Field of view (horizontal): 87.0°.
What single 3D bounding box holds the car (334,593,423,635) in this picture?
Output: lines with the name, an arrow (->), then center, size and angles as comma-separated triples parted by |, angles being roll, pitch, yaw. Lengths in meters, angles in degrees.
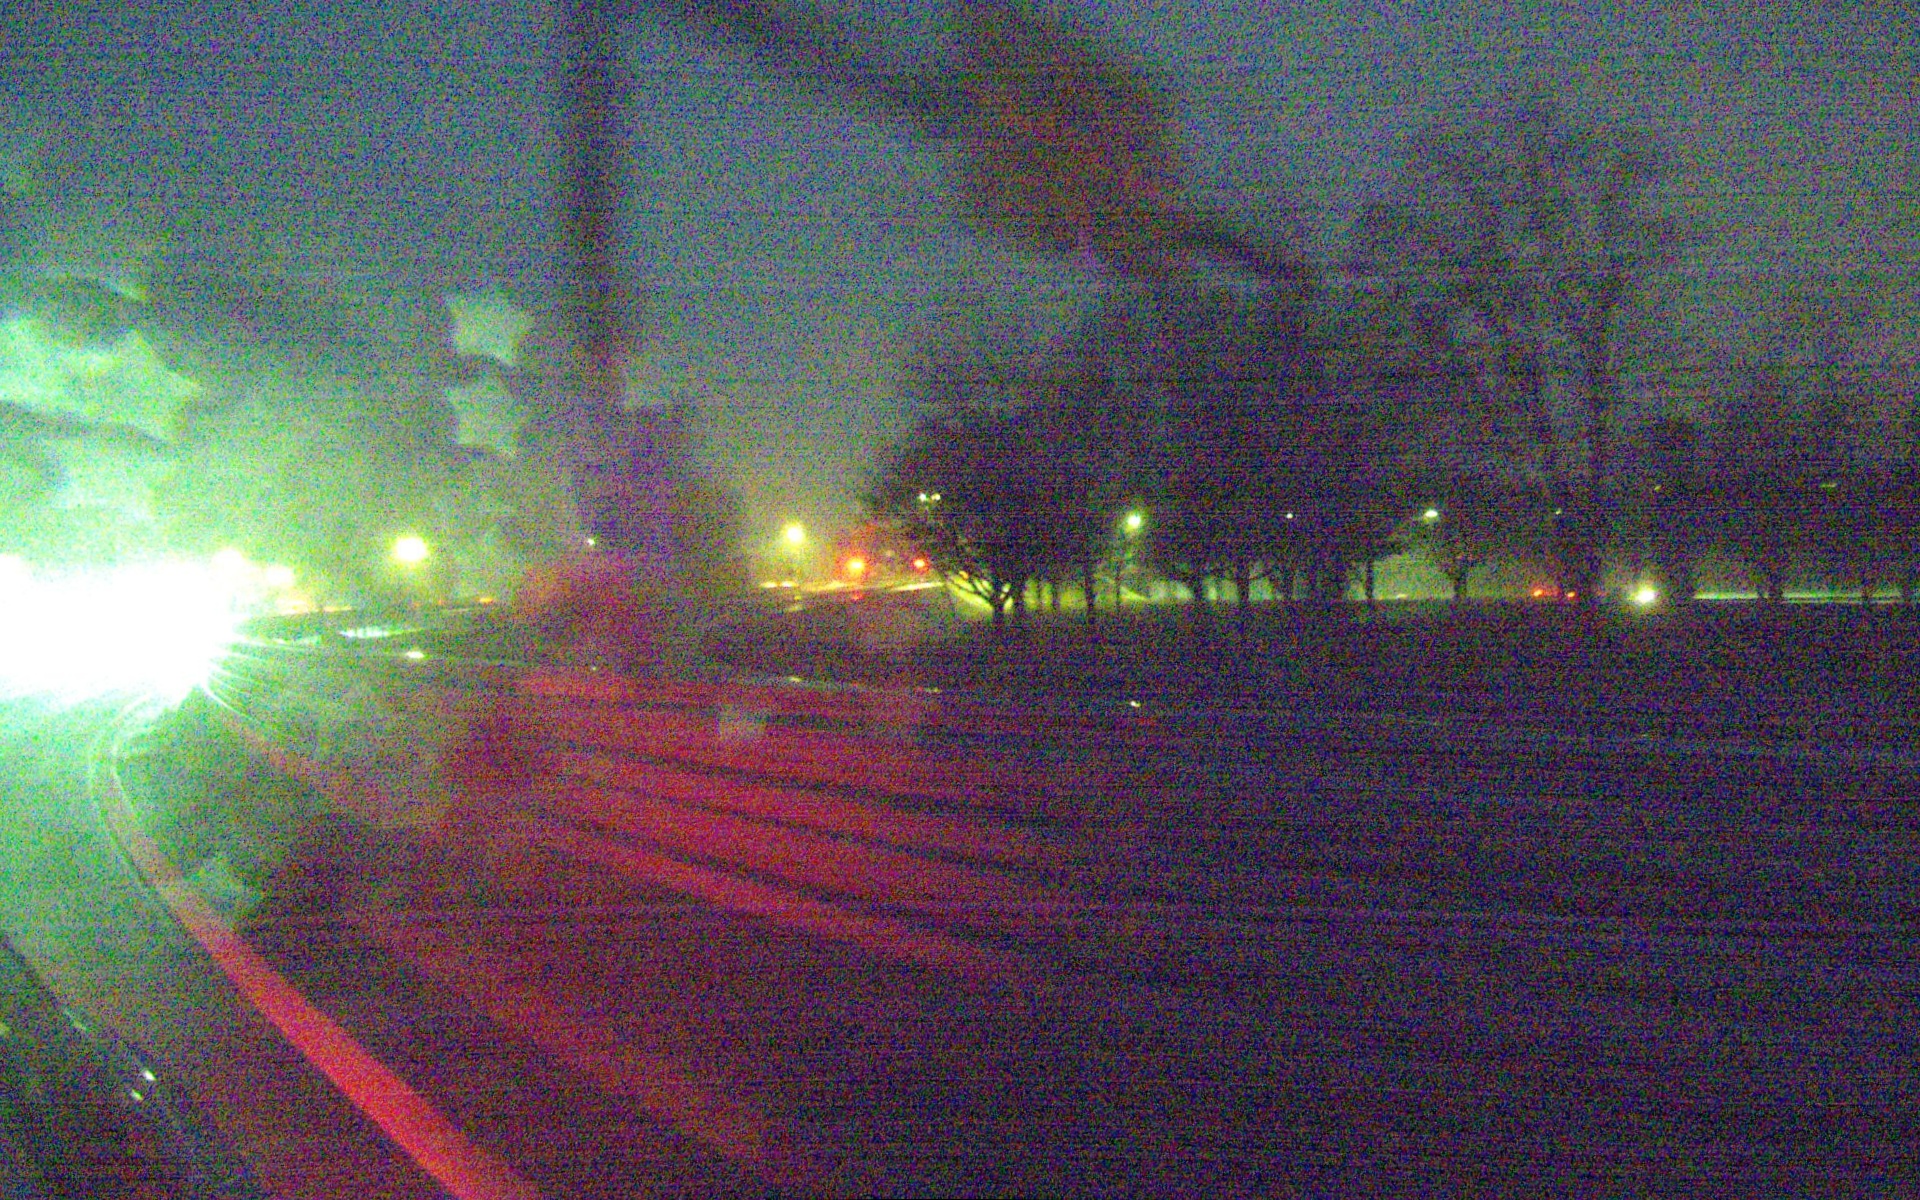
car -> -27.276, 0.623, 47.634 | 1.970, 1.760, 4.103 | -3, 1, -3

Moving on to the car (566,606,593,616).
car -> -62.197, 1.787, 165.578 | 3.934, 1.452, 1.723 | -3, 0, -12
